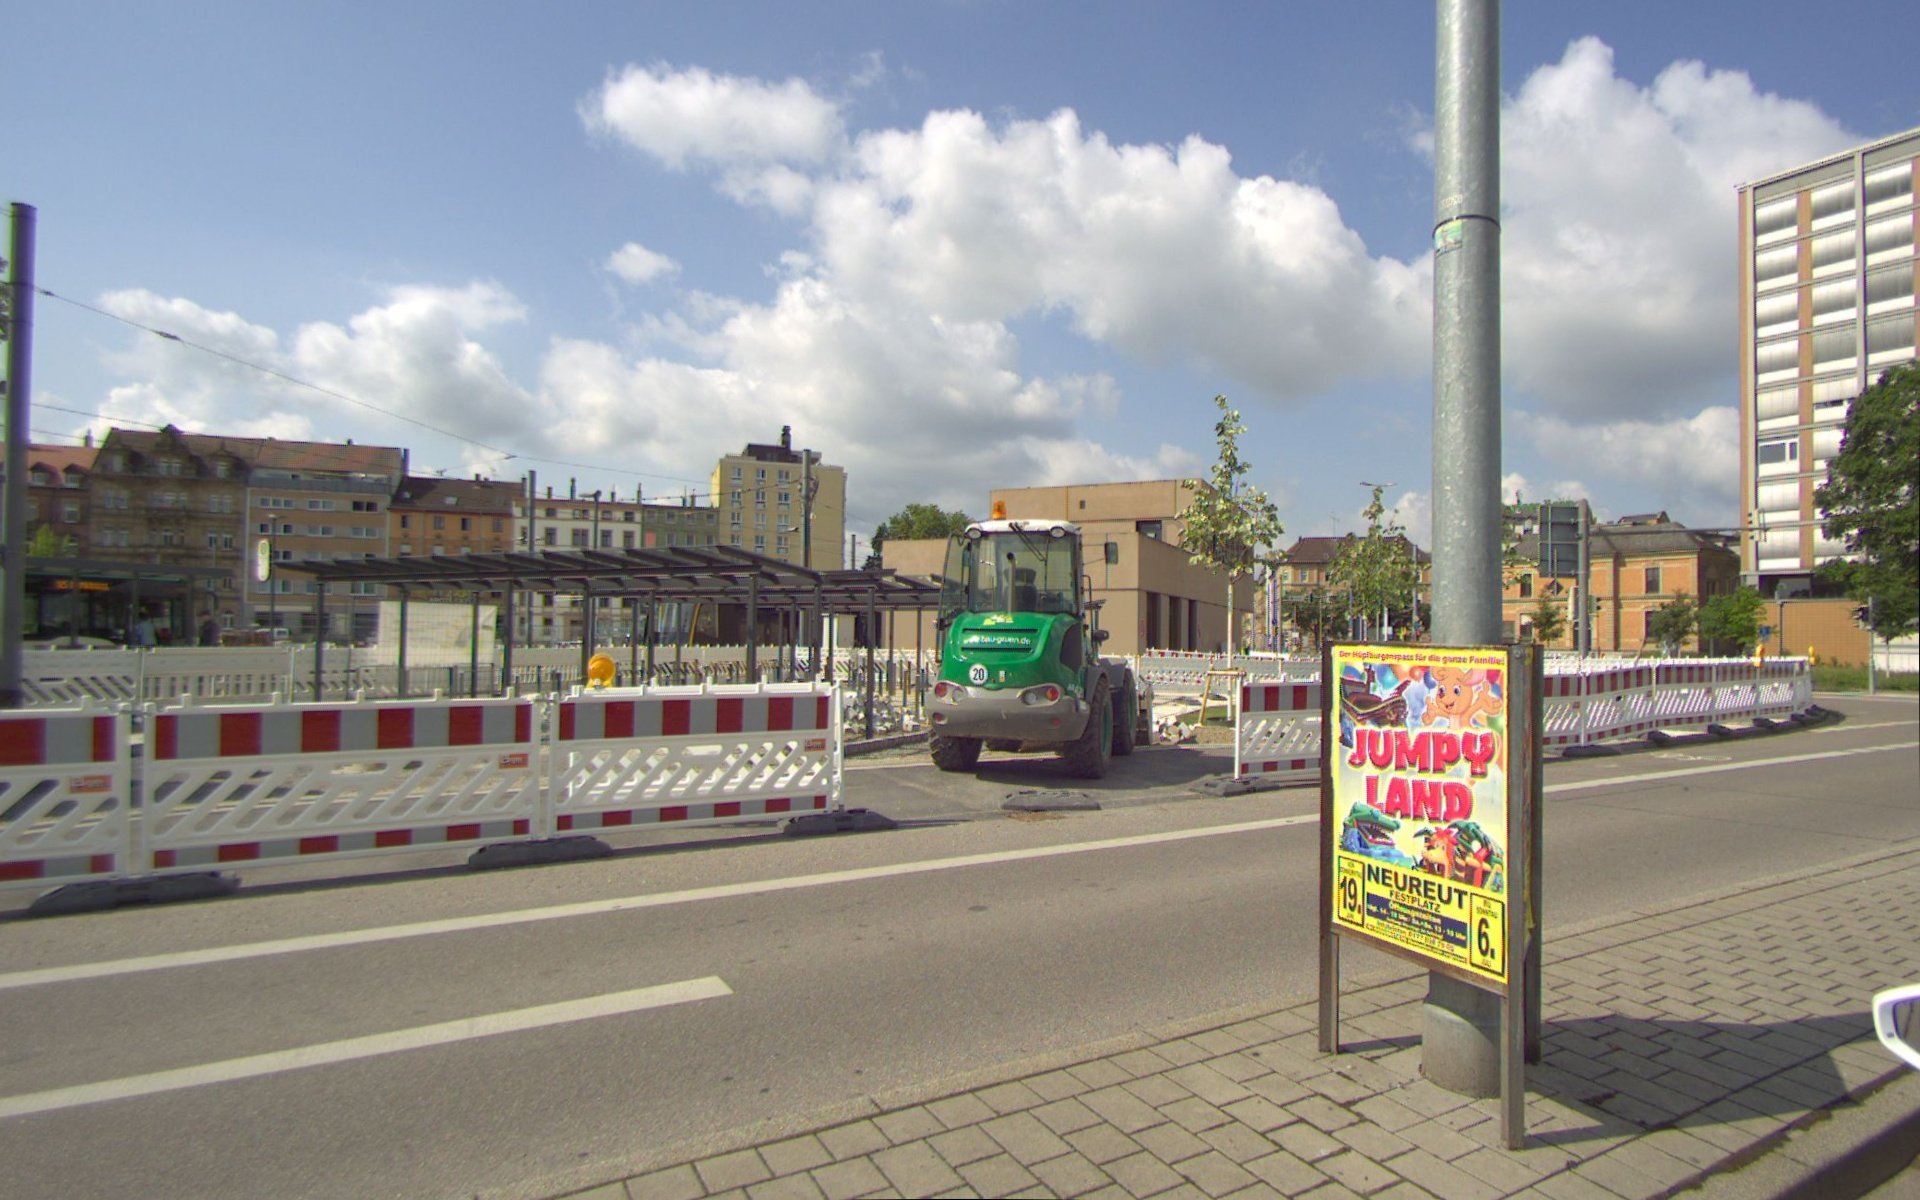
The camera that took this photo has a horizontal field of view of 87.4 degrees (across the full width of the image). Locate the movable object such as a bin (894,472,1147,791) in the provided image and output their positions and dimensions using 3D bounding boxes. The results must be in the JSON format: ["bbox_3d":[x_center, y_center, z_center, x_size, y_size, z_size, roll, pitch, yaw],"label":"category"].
[{"bbox_3d":[0.943,0.386,11.815,1.960,2.988,4.453,0,-2,17],"label":"movable object such as a bin"}]

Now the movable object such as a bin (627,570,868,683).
[{"bbox_3d":[-7.137,1.005,35.809,2.966,3.468,9.677,0,-2,27],"label":"movable object such as a bin"}]

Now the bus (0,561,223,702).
[{"bbox_3d":[-21.978,0.725,23.199,2.329,3.098,7.758,-1,-2,25],"label":"bus"}]

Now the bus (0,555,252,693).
[{"bbox_3d":[-24.476,0.585,24.318,2.937,3.305,12.067,-1,-2,25],"label":"bus"}]
